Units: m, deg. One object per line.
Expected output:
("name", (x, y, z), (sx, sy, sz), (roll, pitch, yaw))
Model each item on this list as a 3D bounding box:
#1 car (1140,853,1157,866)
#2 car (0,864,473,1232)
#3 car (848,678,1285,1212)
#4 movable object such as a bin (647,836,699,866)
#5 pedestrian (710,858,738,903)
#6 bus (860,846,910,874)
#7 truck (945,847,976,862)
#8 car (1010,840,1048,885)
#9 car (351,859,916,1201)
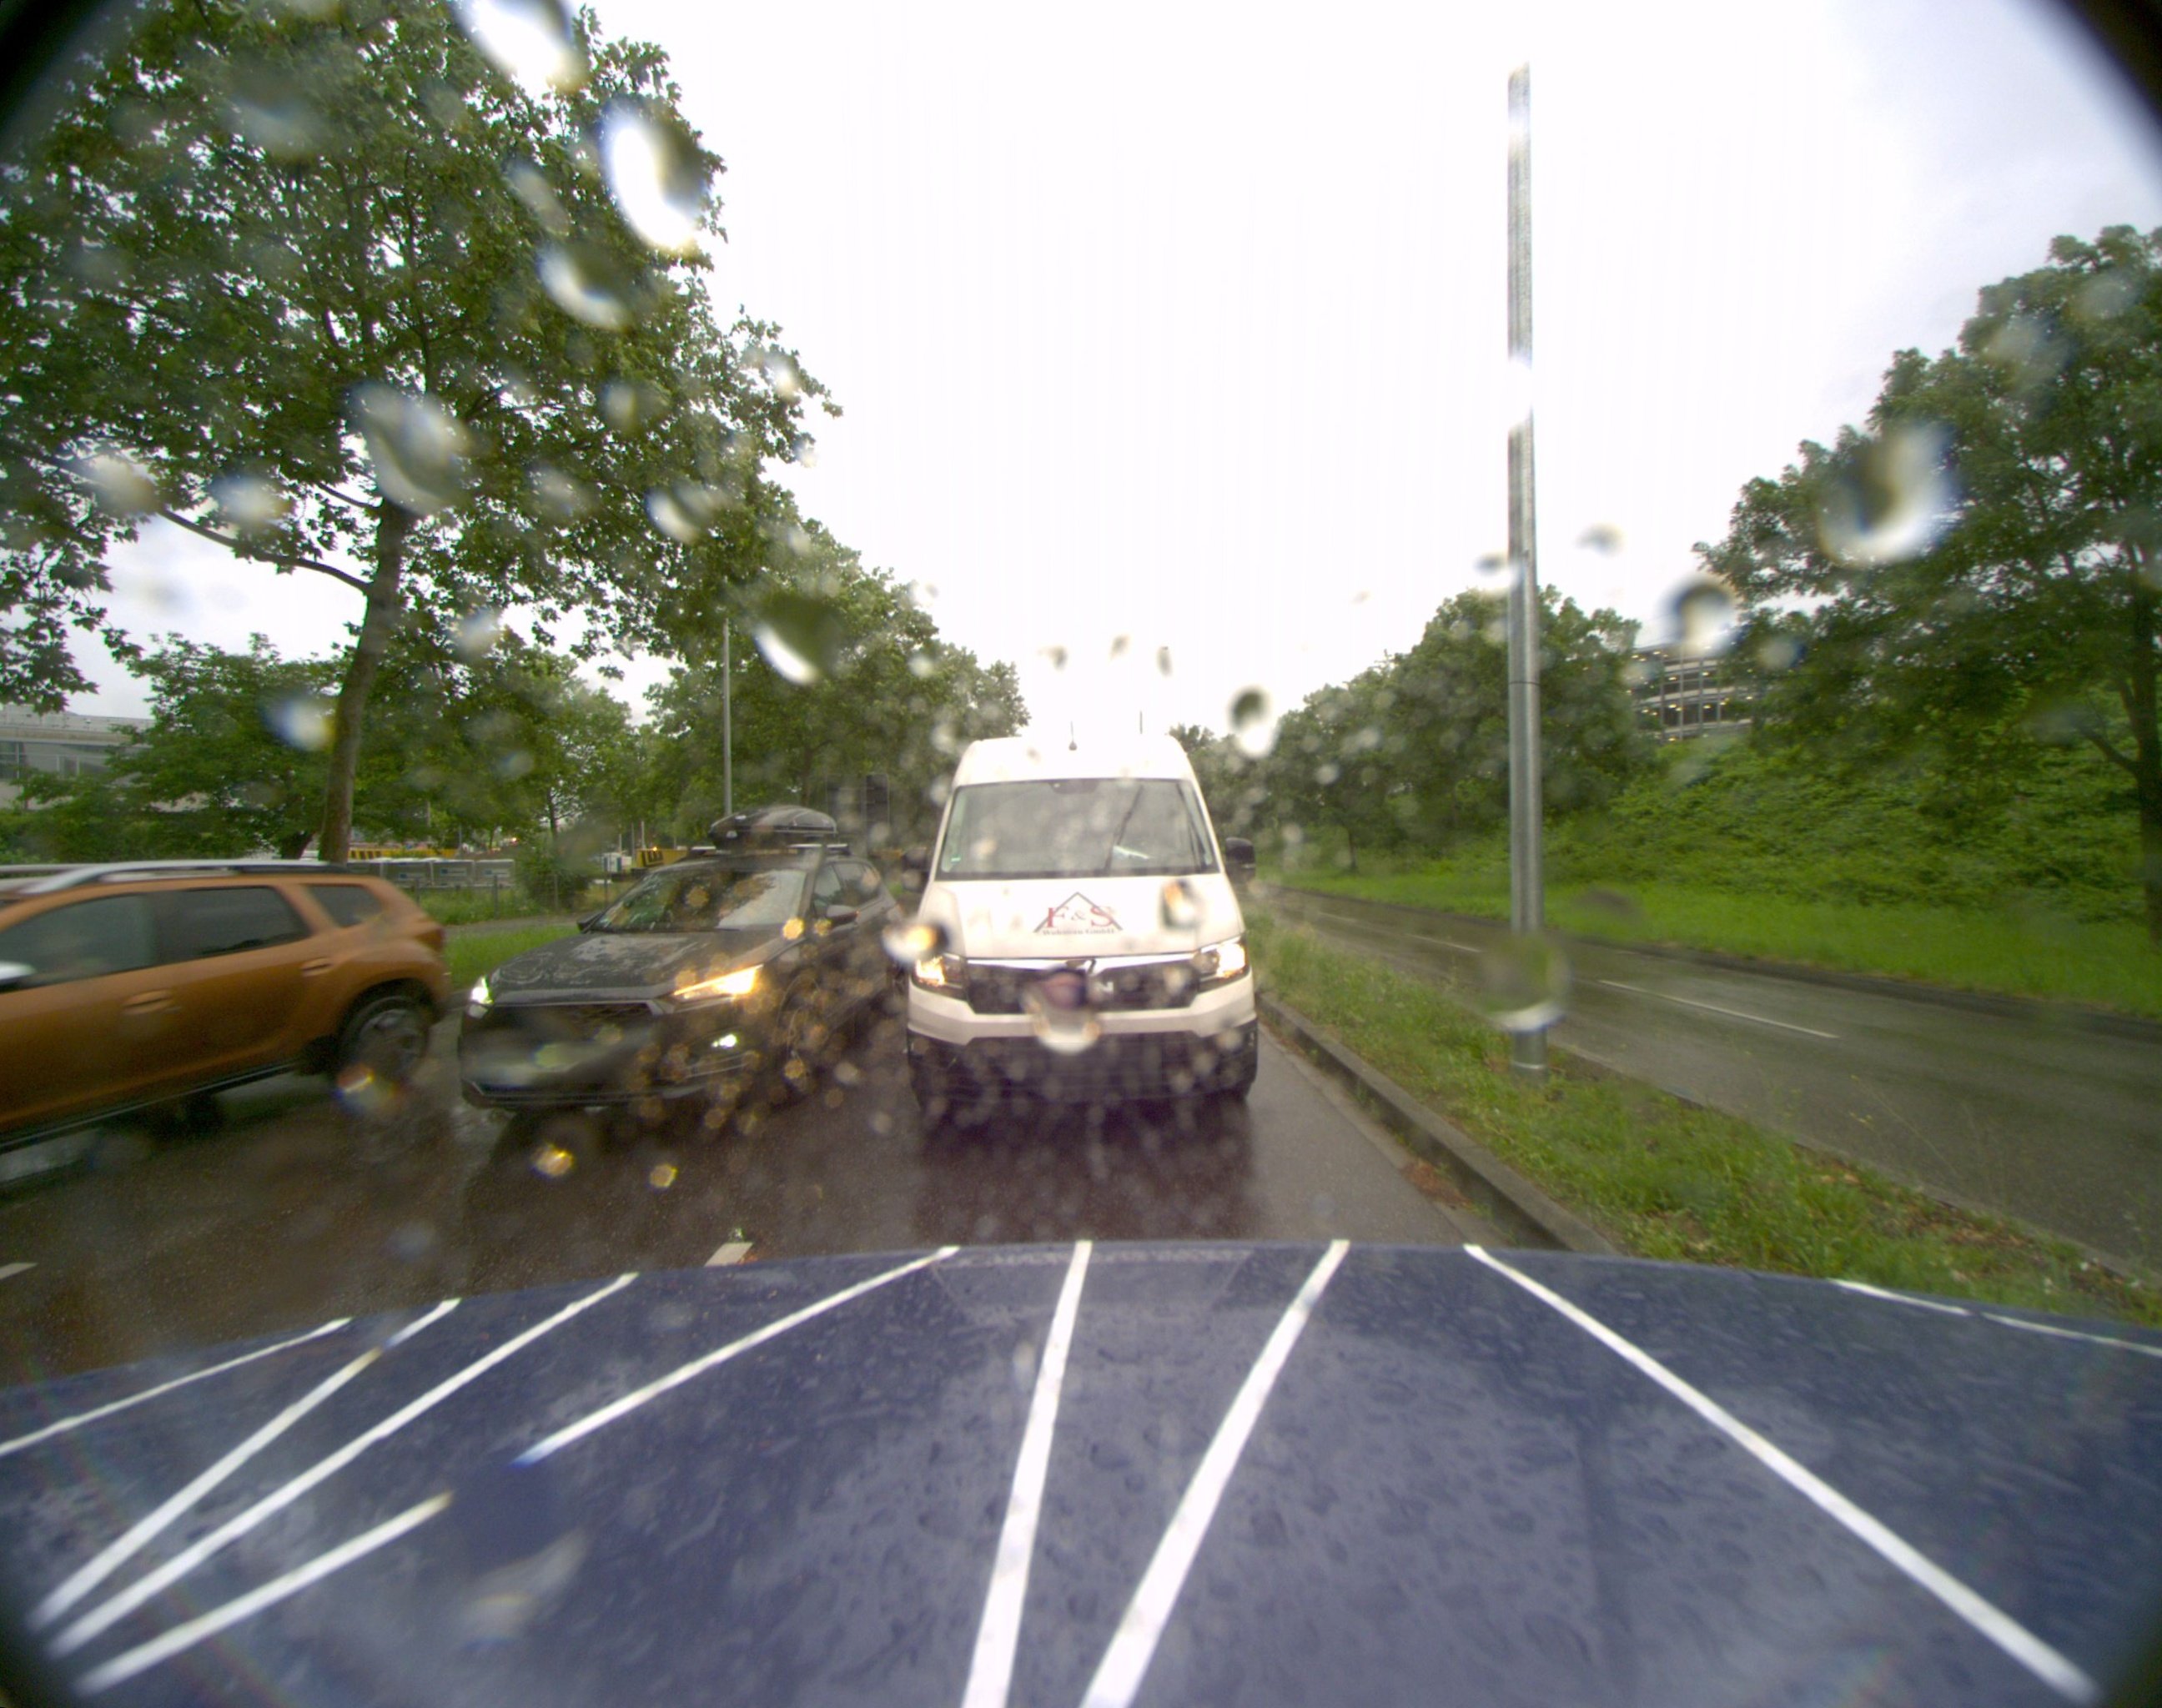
("car", (8.701, 0.705, 98.304), (1.891, 1.510, 4.301), (1, 0, 0))
("car", (-5.825, 0.945, 4.074), (1.679, 1.675, 4.148), (-3, 0, 1))
("car", (-0.112, 0.425, 6.456), (2.027, 2.498, 5.695), (-1, 0, -1))
("movable object such as a bin", (-48.080, -0.359, 89.629), (1.913, 3.415, 4.947), (-1, 1, 37))
("pedestrian", (-13.709, 1.013, 29.197), (0.646, 1.707, 0.656), (-2, 1, 1))
("bus", (-19.145, 0.566, 74.388), (4.370, 2.553, 1.711), (-2, 1, 0))
("truck", (-20.995, 0.087, 132.616), (5.061, 2.363, 1.792), (-3, 1, -30))
("car", (-2.957, 0.476, 44.139), (1.894, 2.432, 5.317), (-1, 0, -1))
("car", (-2.765, 0.916, 6.105), (1.894, 1.688, 4.423), (-1, 0, 0))
